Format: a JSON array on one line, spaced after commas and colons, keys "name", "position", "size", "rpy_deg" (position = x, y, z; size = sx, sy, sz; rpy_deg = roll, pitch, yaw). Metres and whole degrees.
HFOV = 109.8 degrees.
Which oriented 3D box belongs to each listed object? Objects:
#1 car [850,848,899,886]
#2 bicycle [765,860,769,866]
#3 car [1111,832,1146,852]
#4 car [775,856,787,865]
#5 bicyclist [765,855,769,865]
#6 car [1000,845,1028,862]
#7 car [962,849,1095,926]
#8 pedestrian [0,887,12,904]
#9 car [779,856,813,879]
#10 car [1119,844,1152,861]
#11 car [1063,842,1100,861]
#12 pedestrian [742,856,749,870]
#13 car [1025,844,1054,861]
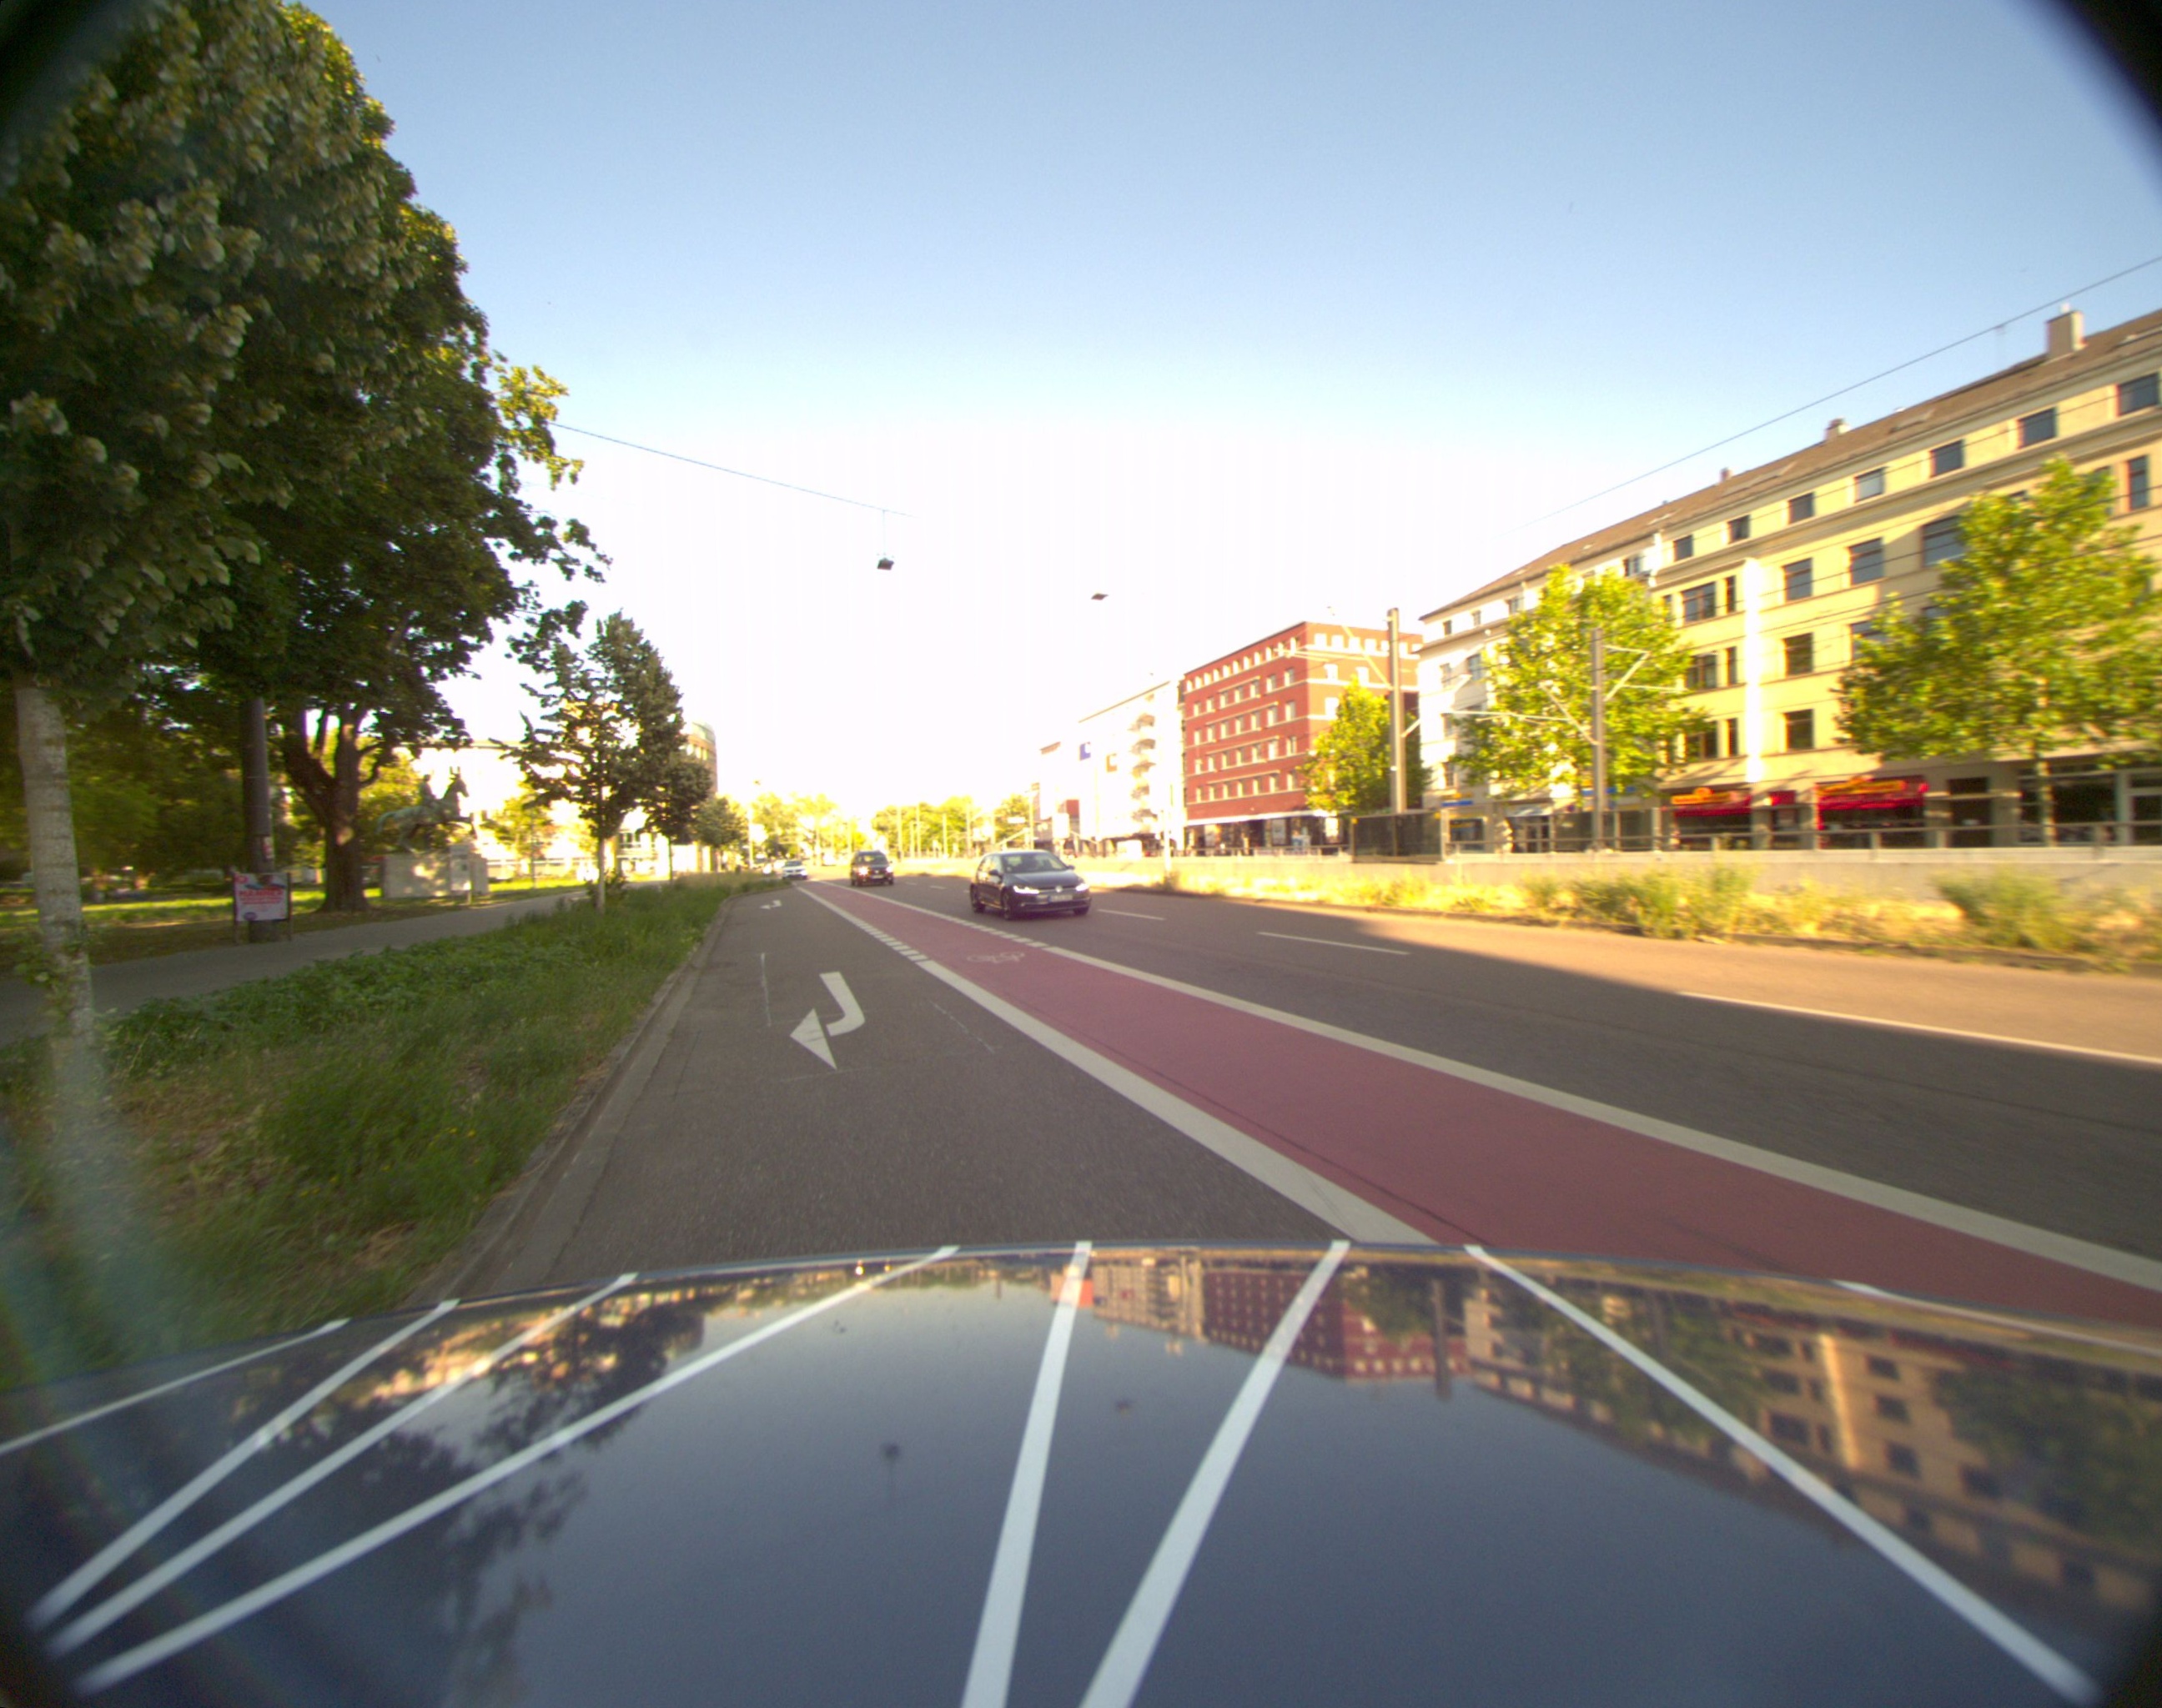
[{"name": "car", "position": [-10.400, 0.614, 38.078], "size": [1.773, 1.722, 4.139], "rpy_deg": [-3, 1, -23]}, {"name": "bicycle", "position": [-55.189, 1.563, 133.544], "size": [0.609, 0.923, 1.774], "rpy_deg": [-2, 1, -20]}, {"name": "car", "position": [5.155, -1.316, 83.635], "size": [1.961, 2.121, 4.564], "rpy_deg": [-2, 0, -22]}, {"name": "car", "position": [-53.938, 1.184, 136.465], "size": [1.772, 1.464, 4.006], "rpy_deg": [-4, 2, -23]}, {"name": "bicyclist", "position": [-55.198, 1.050, 133.485], "size": [0.553, 1.600, 0.831], "rpy_deg": [-3, 1, -20]}, {"name": "car", "position": [-8.452, -0.011, 95.764], "size": [2.002, 2.002, 4.765], "rpy_deg": [-3, 1, -23]}, {"name": "car", "position": [-1.336, 0.679, 17.232], "size": [1.772, 1.418, 4.237], "rpy_deg": [-3, 1, -21]}, {"name": "pedestrian", "position": [-64.477, 2.488, 44.626], "size": [1.384, 0.988, 1.283], "rpy_deg": [-2, 1, -11]}, {"name": "car", "position": [-21.990, 1.025, 58.605], "size": [1.837, 1.529, 4.269], "rpy_deg": [-5, 2, -27]}, {"name": "car", "position": [6.316, -0.153, 88.511], "size": [2.002, 1.787, 4.733], "rpy_deg": [-2, 1, -21]}, {"name": "car", "position": [0.021, -0.232, 74.744], "size": [2.002, 1.808, 4.970], "rpy_deg": [-2, 0, -20]}, {"name": "pedestrian", "position": [-43.395, 1.155, 98.345], "size": [0.652, 1.714, 0.713], "rpy_deg": [-3, 1, -20]}, {"name": "car", "position": [-4.827, -0.135, 87.638], "size": [2.002, 1.787, 4.886], "rpy_deg": [-2, 1, -21]}]
